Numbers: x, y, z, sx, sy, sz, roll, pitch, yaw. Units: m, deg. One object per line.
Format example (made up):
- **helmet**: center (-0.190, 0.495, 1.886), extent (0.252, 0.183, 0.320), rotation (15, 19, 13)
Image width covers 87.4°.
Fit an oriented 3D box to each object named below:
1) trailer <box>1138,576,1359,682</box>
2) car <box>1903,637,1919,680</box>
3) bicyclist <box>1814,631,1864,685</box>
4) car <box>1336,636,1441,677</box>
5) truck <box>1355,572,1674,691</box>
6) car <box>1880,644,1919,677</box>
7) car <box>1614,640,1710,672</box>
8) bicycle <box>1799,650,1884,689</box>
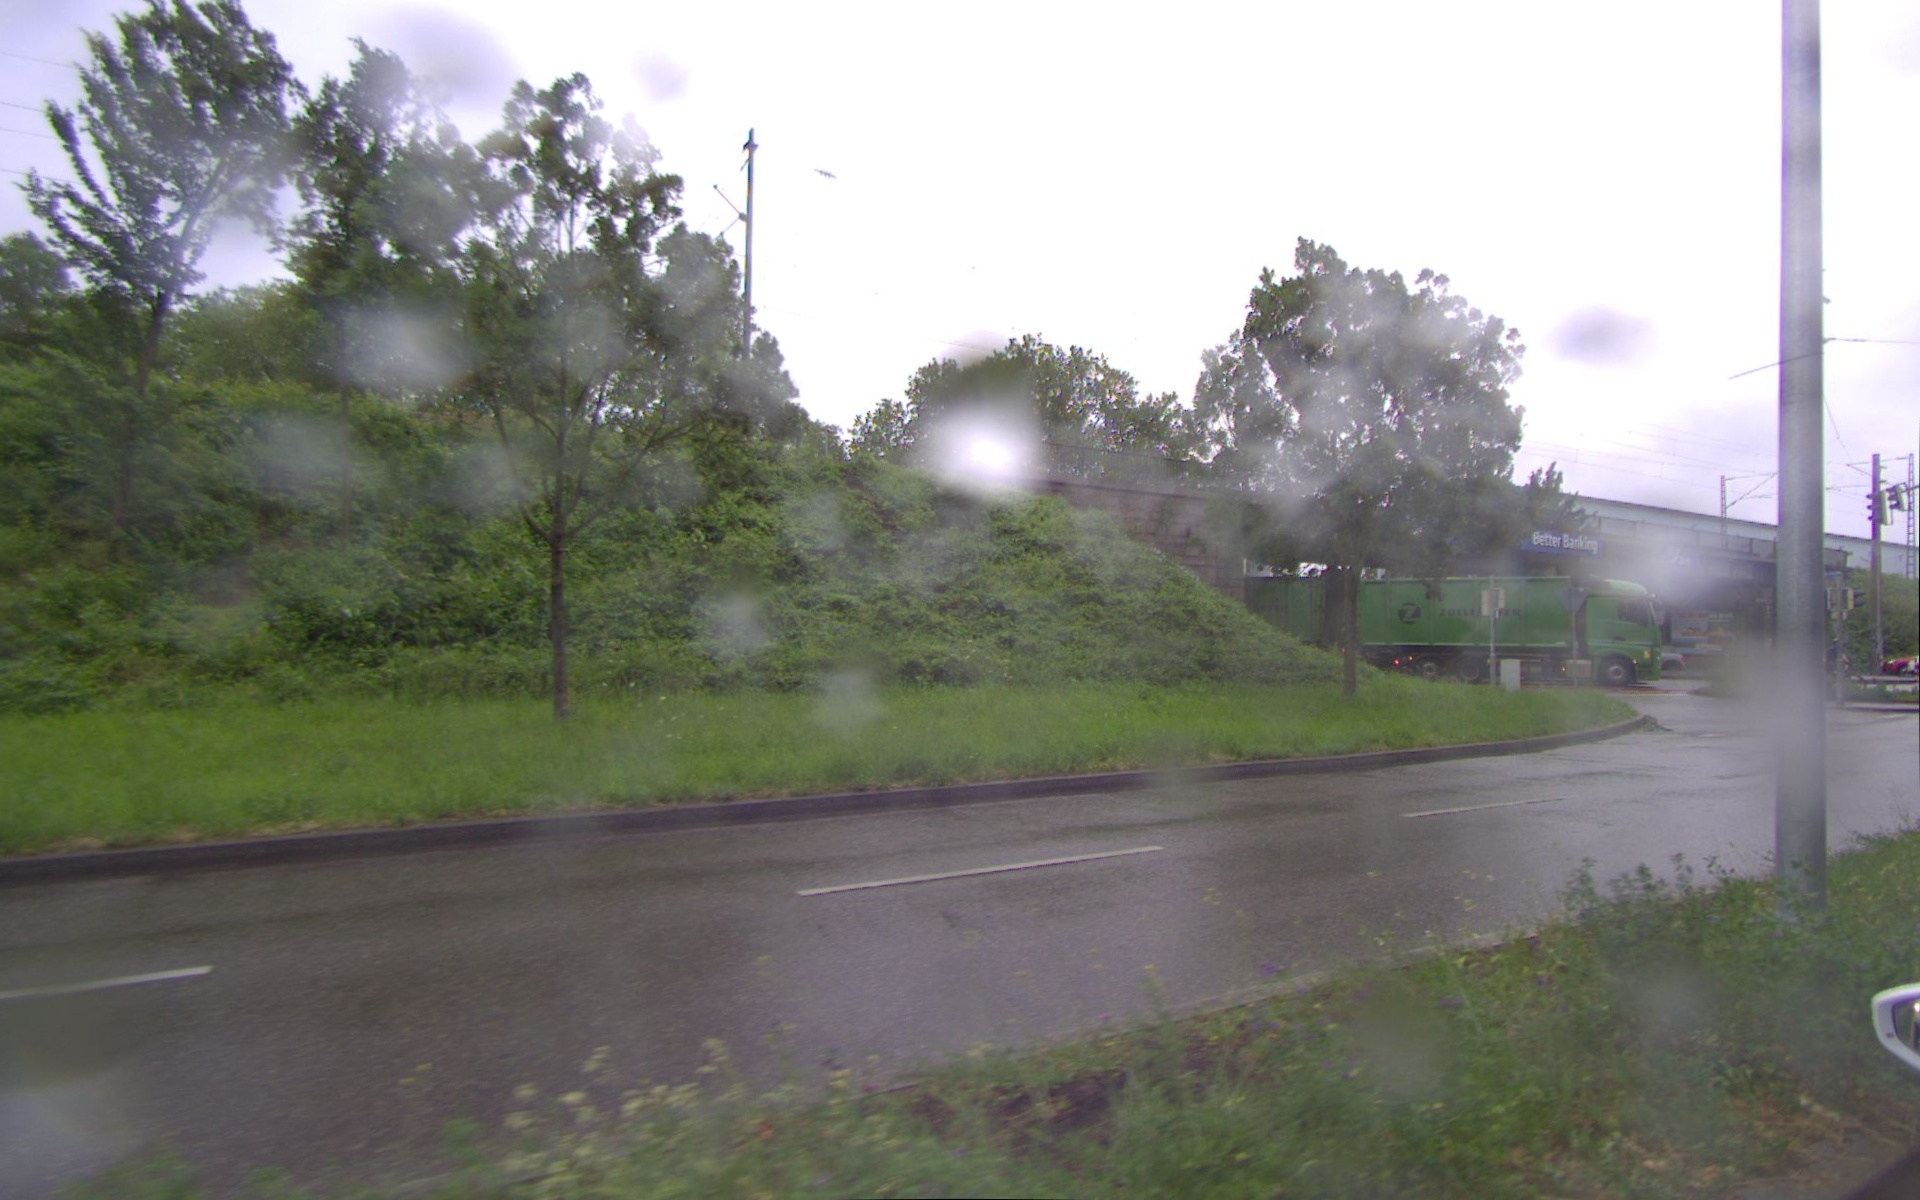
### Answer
- **trailer**: center (11.757, 1.147, 41.080), extent (8.359, 4.039, 2.687), rotation (0, -2, 25)
- **car**: center (43.295, 2.512, 42.573), extent (1.970, 1.870, 4.421), rotation (1, -2, -20)
- **bicyclist**: center (27.334, 1.792, 31.267), extent (1.029, 1.614, 0.803), rotation (1, -1, 33)
- **car**: center (17.844, 2.325, 41.909), extent (3.924, 1.594, 1.999), rotation (0, -2, 24)
- **truck**: center (20.075, 1.139, 37.176), extent (10.003, 4.001, 2.686), rotation (0, -2, 25)
- **car**: center (46.056, 2.852, 47.275), extent (1.759, 1.522, 3.951), rotation (2, -2, -42)
- **car**: center (35.186, 2.779, 50.452), extent (3.831, 1.537, 1.805), rotation (-1, -2, 32)
- **bicycle**: center (27.370, 2.144, 31.228), extent (1.880, 1.109, 0.693), rotation (1, -1, 34)
